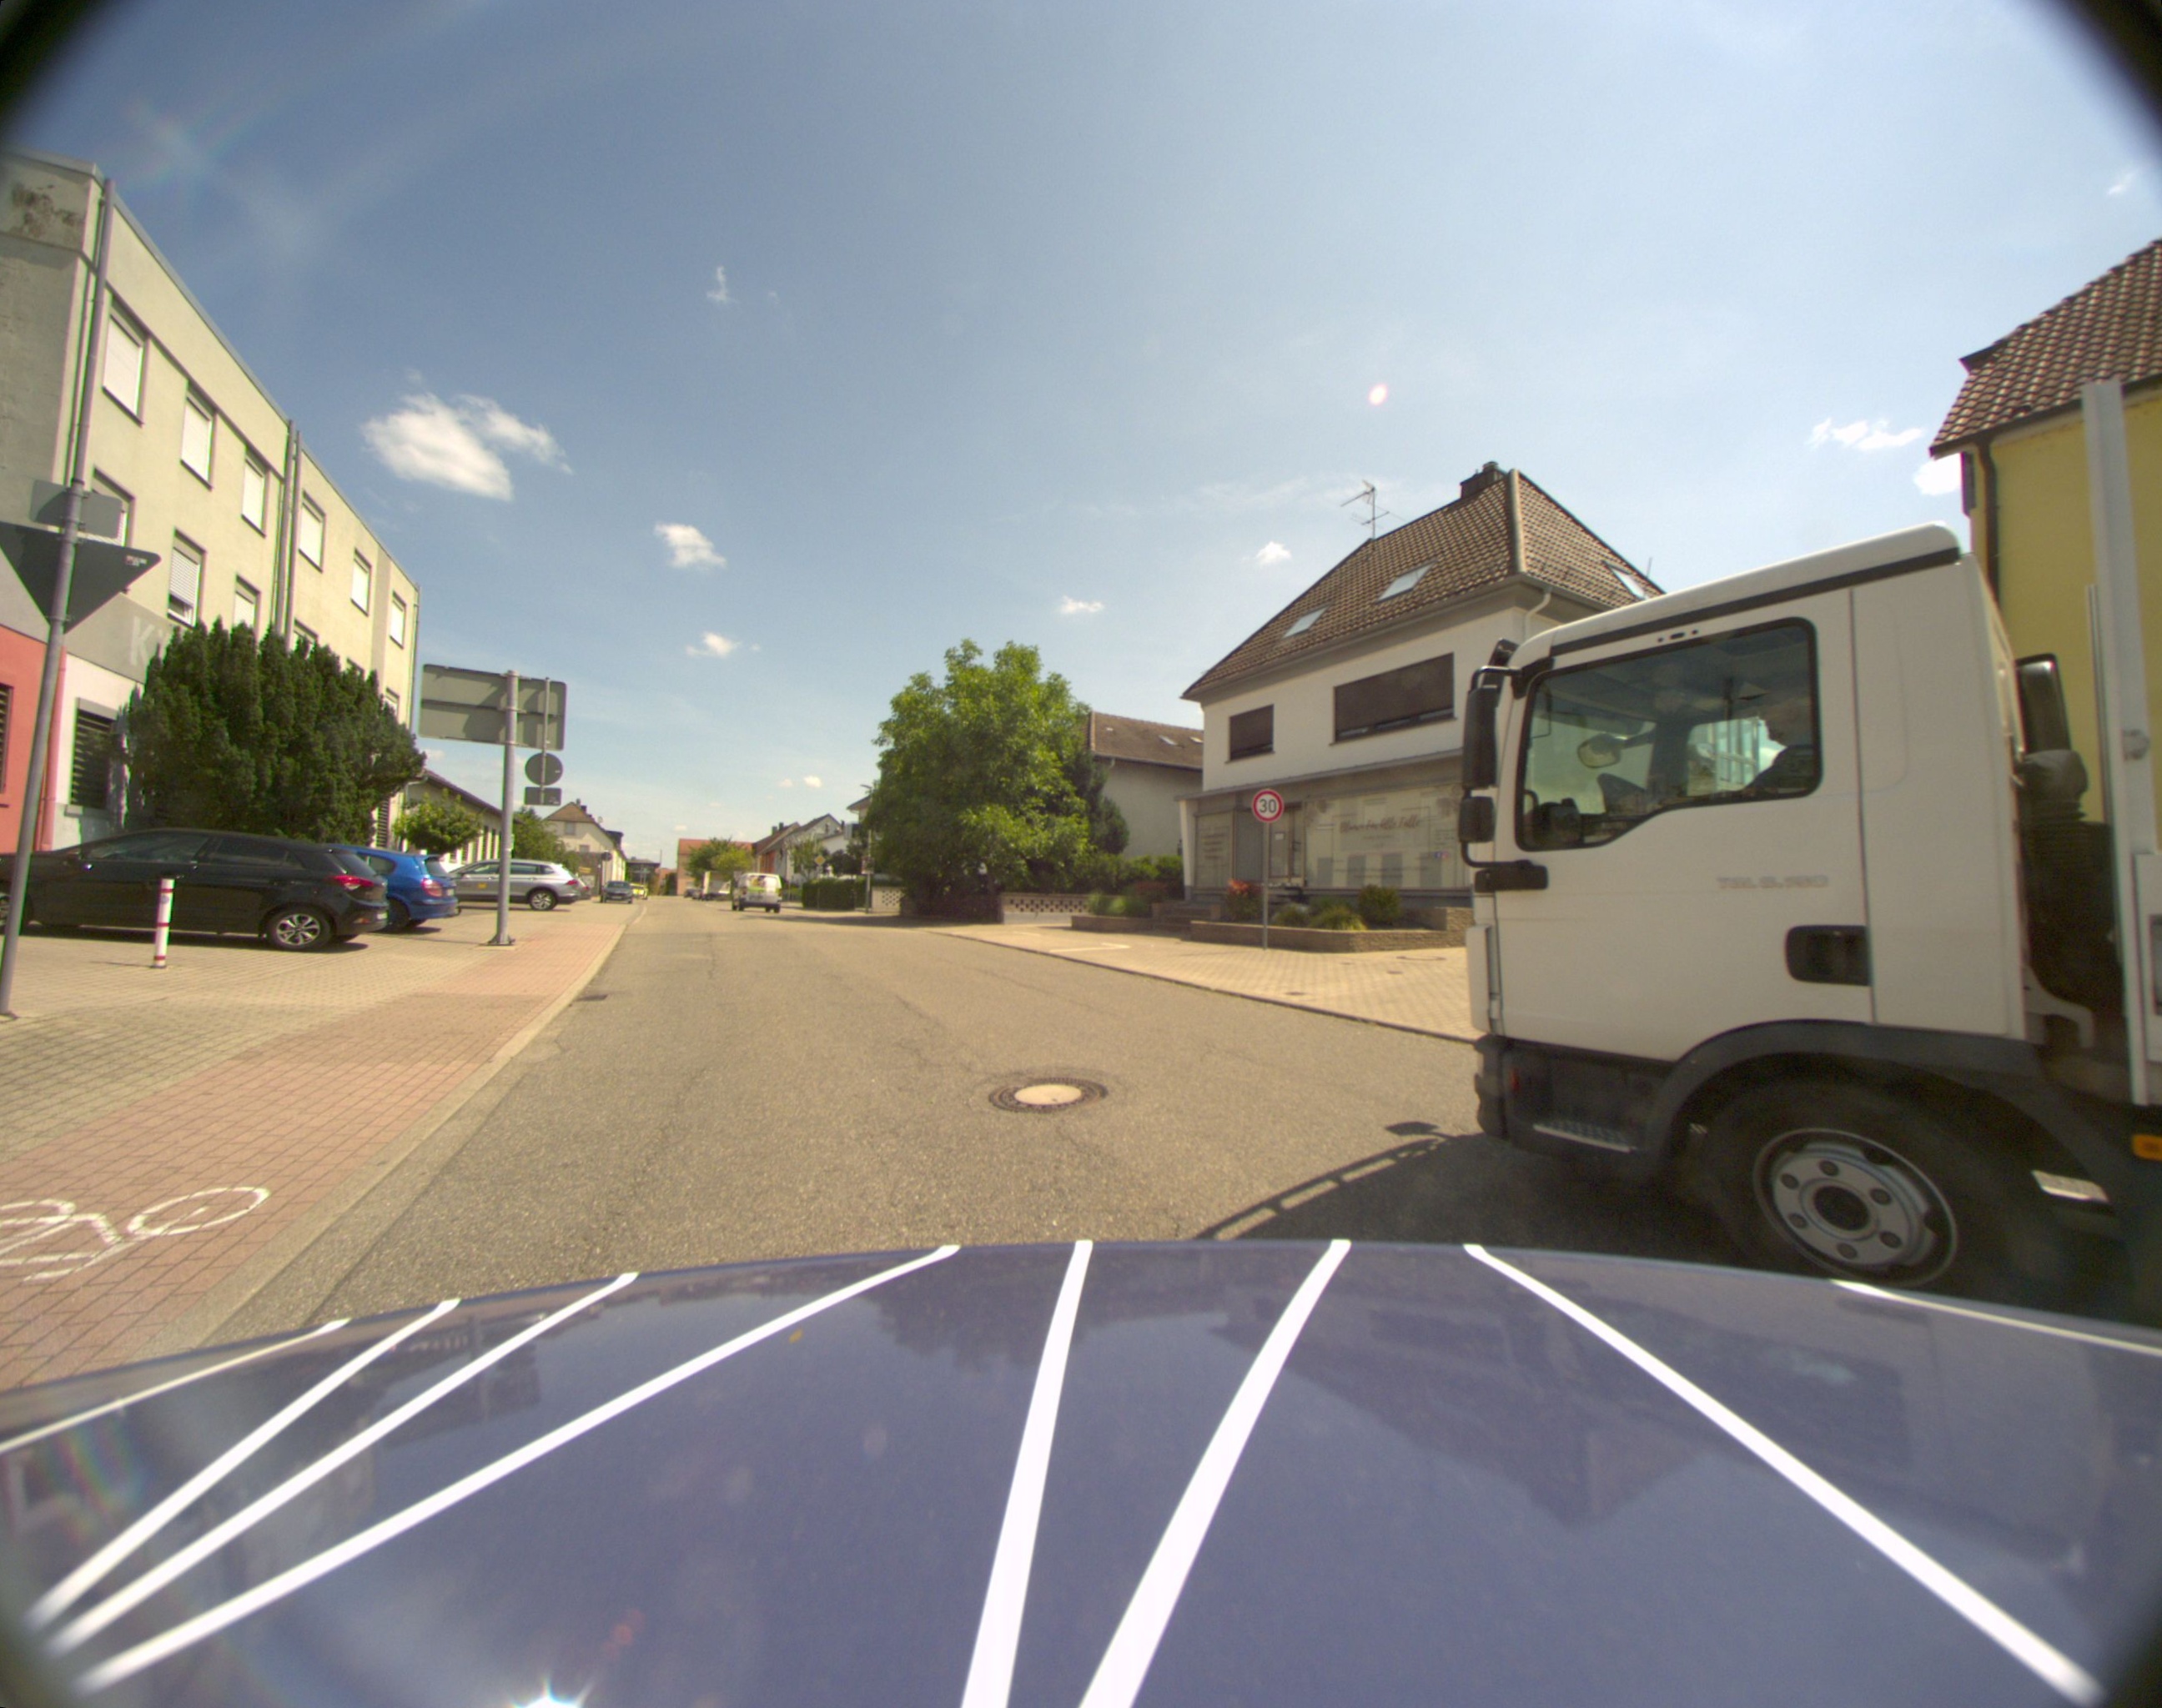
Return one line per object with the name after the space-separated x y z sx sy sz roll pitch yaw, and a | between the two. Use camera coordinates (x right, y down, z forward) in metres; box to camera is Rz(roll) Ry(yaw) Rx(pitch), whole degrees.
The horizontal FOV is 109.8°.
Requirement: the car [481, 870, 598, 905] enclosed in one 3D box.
-27.071 1.710 38.201 4.550 1.444 1.914 5 -4 -29 | car

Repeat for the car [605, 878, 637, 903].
-29.724 2.345 49.169 1.636 1.479 4.131 4 -4 -31 | car

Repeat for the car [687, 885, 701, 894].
-64.795 5.952 127.152 1.725 1.490 4.206 6 -5 -30 | car

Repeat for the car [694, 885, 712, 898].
-50.162 4.968 100.710 1.725 1.490 4.206 6 -5 -30 | car

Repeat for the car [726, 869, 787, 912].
-15.754 1.788 36.811 1.822 1.842 4.549 7 -6 -32 | car

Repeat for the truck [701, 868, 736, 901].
-39.722 3.351 83.148 2.451 3.224 7.021 7 -6 -31 | truck

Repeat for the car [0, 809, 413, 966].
-11.716 0.471 10.023 3.917 1.480 1.805 10 -6 -31 | car

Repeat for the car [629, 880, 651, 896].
-43.720 3.404 75.353 1.725 1.388 4.207 7 -6 -29 | car

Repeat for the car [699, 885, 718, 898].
-46.697 4.747 95.193 1.725 1.490 4.206 6 -5 -30 | car

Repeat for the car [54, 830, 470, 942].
-13.335 0.578 12.851 4.346 1.430 1.775 7 -3 -30 | car

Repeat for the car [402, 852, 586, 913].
-19.044 0.997 24.974 4.477 1.686 1.918 5 -4 -31 | car

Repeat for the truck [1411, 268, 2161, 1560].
4.868 0.070 0.668 2.623 2.859 8.051 -1 -1 -38 | truck
